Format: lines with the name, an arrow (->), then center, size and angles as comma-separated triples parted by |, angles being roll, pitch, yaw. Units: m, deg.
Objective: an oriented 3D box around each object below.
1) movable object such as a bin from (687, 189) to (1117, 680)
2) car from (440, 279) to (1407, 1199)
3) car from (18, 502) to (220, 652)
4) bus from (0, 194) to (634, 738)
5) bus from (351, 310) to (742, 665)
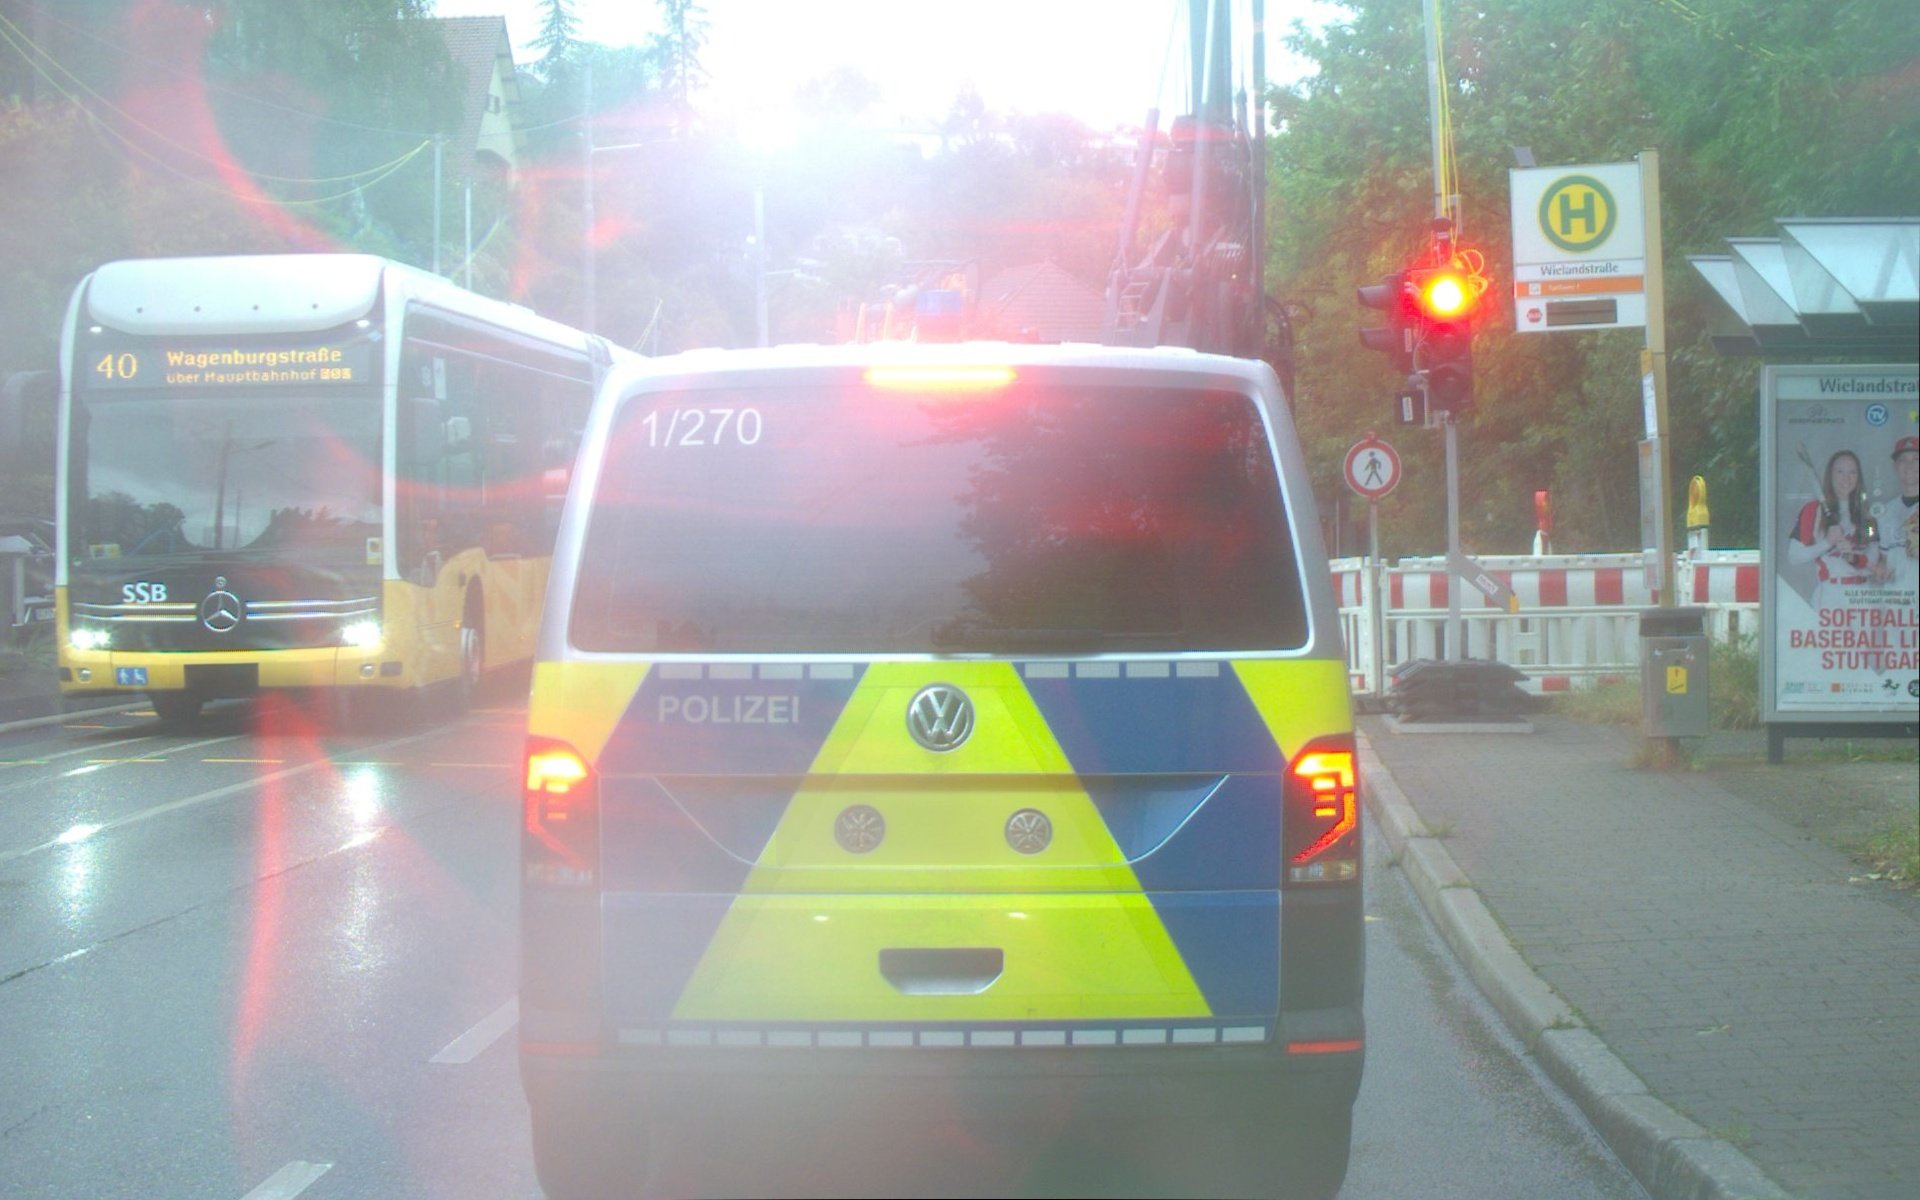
movable object such as a bin -> -0.426, -1.463, 31.618 | 2.832, 4.163, 4.378 | 1, 1, 15
car -> -0.098, 0.357, 8.818 | 1.893, 2.043, 4.000 | 1, 1, -1
car -> -9.329, -0.284, 37.961 | 1.765, 1.481, 3.743 | 1, 3, -20
bus -> -5.006, -1.050, 29.619 | 2.841, 3.705, 12.005 | 1, 1, 2
bus -> -4.643, -1.286, 41.395 | 2.841, 3.612, 12.005 | 1, 1, 2
